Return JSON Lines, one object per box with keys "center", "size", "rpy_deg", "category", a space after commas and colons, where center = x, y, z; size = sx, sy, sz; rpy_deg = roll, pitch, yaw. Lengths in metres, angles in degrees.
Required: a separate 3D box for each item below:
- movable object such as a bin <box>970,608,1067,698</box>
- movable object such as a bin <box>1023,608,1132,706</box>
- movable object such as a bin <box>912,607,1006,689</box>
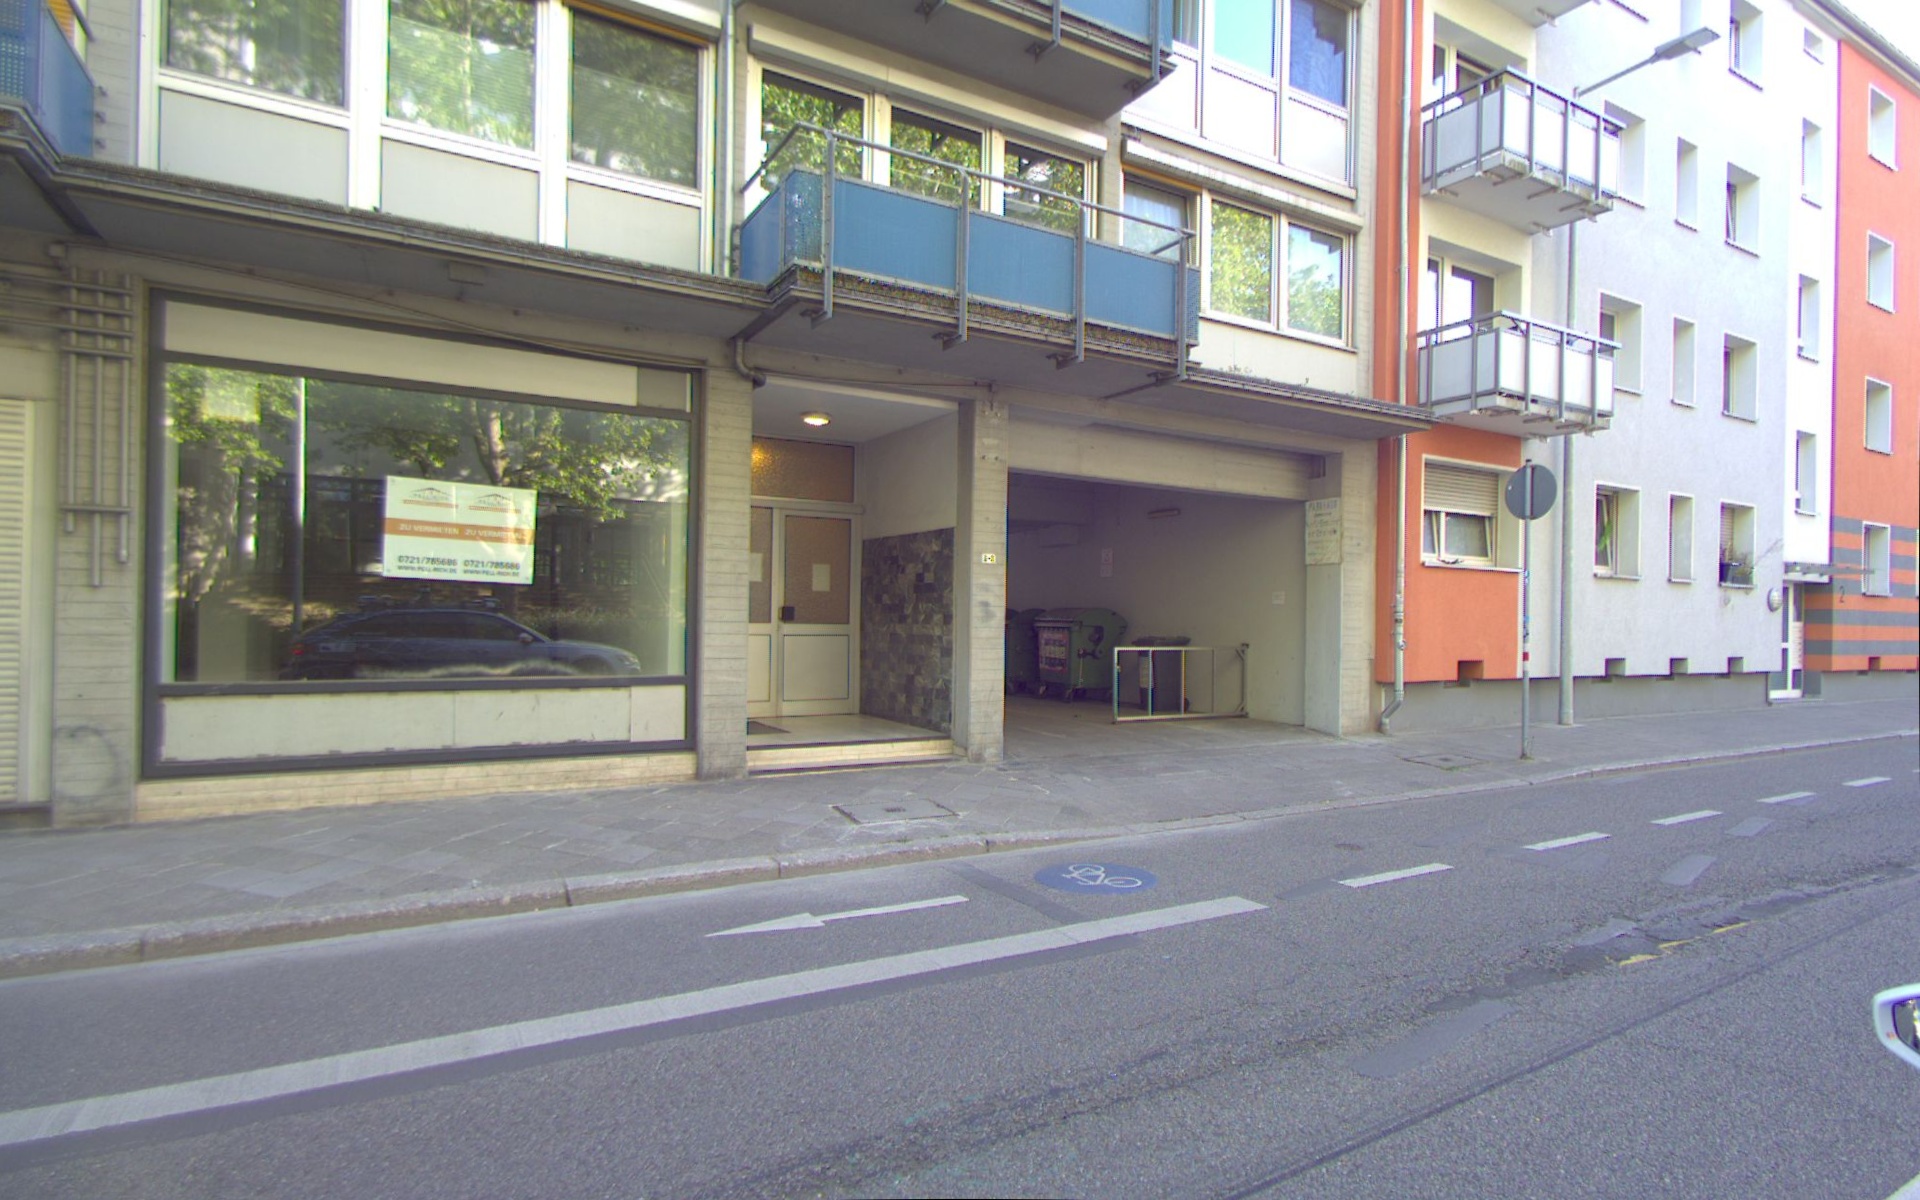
{"center": [0.988, 0.872, 17.173], "size": [1.119, 1.449, 1.322], "rpy_deg": [1, 0, -28], "category": "movable object such as a bin"}
{"center": [1.839, 0.866, 15.850], "size": [1.128, 1.449, 1.342], "rpy_deg": [1, 0, -28], "category": "movable object such as a bin"}
{"center": [-0.040, 0.870, 18.876], "size": [1.119, 1.449, 1.666], "rpy_deg": [1, -1, -28], "category": "movable object such as a bin"}
